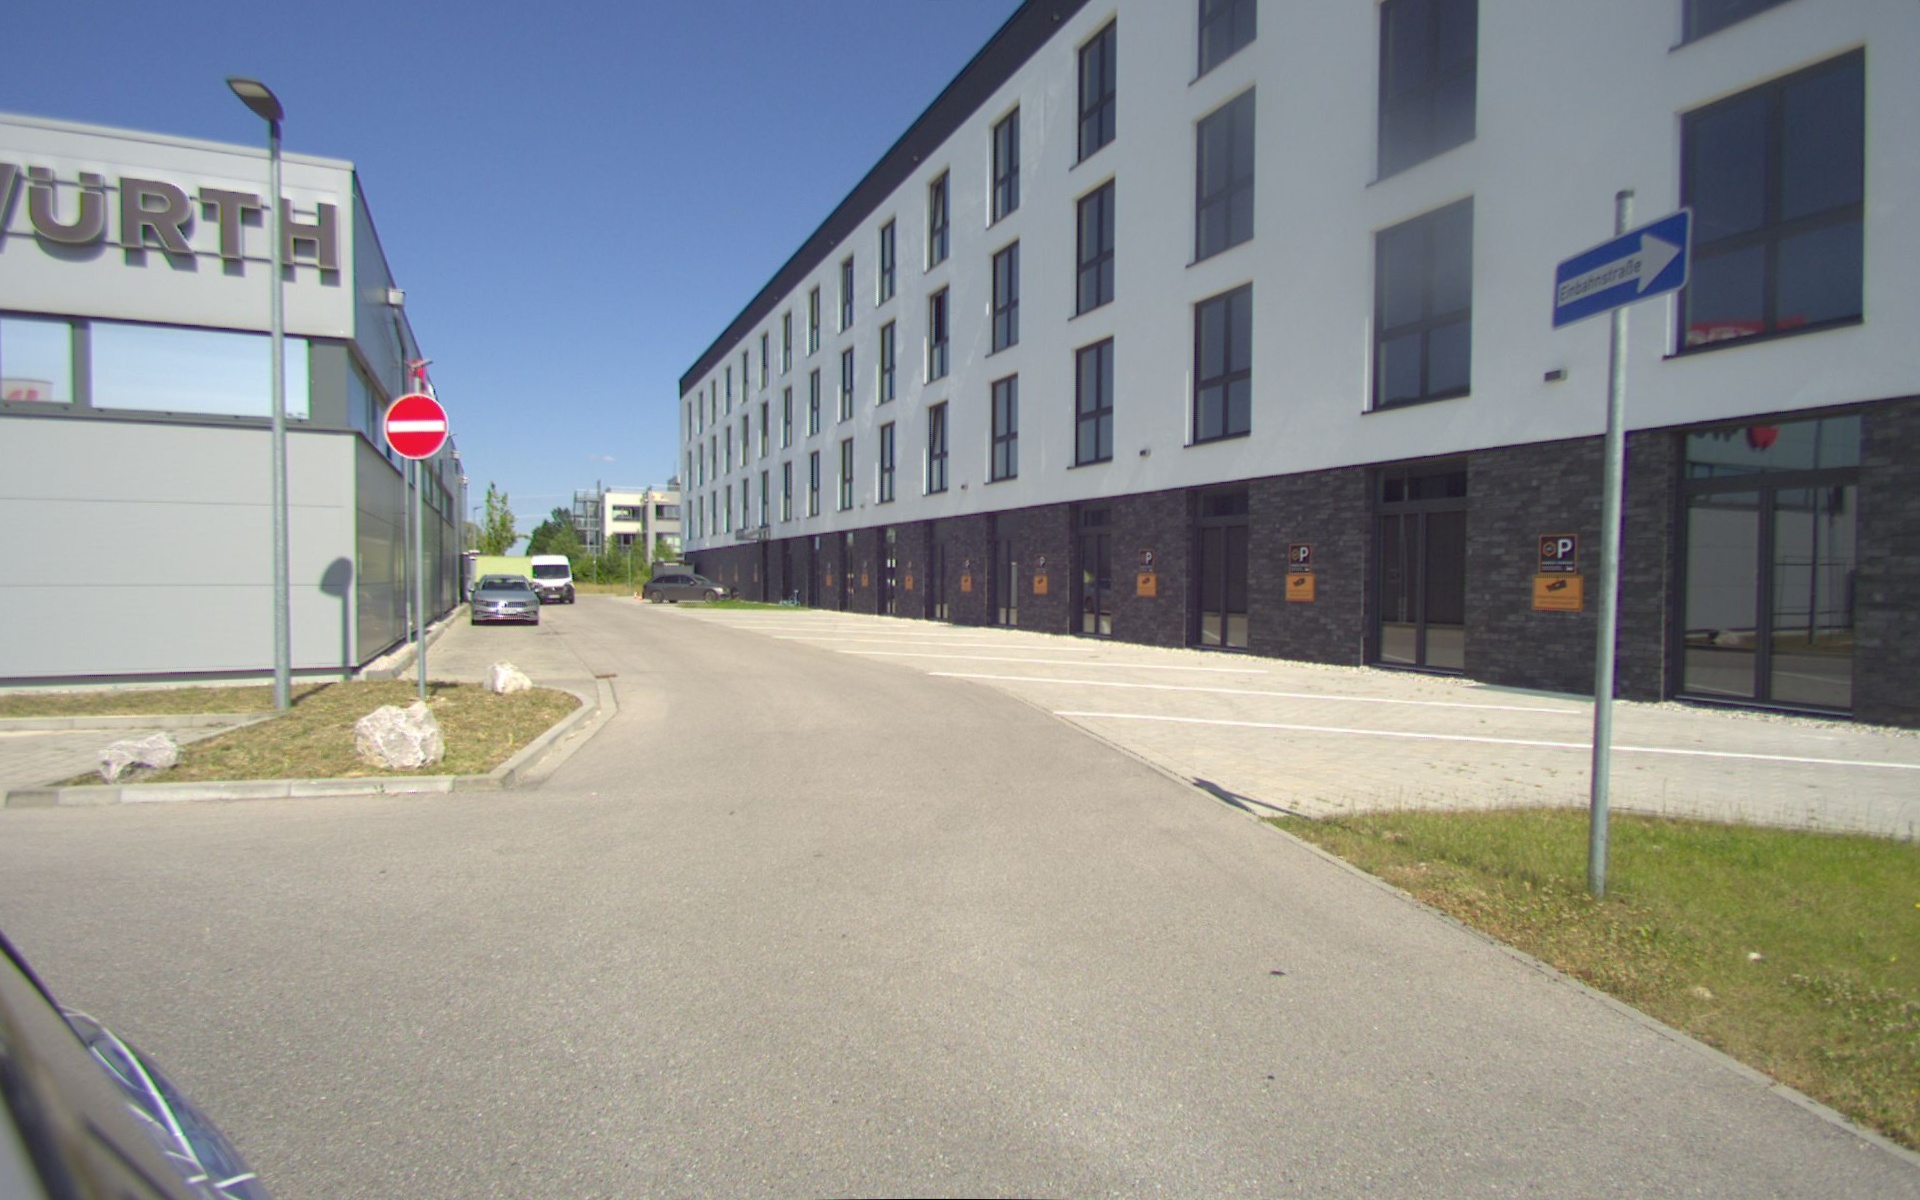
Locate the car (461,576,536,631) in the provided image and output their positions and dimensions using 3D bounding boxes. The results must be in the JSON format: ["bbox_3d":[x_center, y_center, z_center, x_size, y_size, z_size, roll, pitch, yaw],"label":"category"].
[{"bbox_3d":[-13.760,0.062,30.080,1.847,1.519,4.013,-1,1,-27],"label":"car"}]

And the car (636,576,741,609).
[{"bbox_3d":[-12.967,-0.372,48.426,4.478,1.519,1.873,0,1,12],"label":"car"}]

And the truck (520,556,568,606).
[{"bbox_3d":[-21.241,-0.972,51.545,1.965,2.394,5.910,-1,1,-25],"label":"truck"}]

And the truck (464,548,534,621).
[{"bbox_3d":[-16.478,-0.570,36.193,2.087,2.394,5.910,-1,1,-25],"label":"truck"}]
